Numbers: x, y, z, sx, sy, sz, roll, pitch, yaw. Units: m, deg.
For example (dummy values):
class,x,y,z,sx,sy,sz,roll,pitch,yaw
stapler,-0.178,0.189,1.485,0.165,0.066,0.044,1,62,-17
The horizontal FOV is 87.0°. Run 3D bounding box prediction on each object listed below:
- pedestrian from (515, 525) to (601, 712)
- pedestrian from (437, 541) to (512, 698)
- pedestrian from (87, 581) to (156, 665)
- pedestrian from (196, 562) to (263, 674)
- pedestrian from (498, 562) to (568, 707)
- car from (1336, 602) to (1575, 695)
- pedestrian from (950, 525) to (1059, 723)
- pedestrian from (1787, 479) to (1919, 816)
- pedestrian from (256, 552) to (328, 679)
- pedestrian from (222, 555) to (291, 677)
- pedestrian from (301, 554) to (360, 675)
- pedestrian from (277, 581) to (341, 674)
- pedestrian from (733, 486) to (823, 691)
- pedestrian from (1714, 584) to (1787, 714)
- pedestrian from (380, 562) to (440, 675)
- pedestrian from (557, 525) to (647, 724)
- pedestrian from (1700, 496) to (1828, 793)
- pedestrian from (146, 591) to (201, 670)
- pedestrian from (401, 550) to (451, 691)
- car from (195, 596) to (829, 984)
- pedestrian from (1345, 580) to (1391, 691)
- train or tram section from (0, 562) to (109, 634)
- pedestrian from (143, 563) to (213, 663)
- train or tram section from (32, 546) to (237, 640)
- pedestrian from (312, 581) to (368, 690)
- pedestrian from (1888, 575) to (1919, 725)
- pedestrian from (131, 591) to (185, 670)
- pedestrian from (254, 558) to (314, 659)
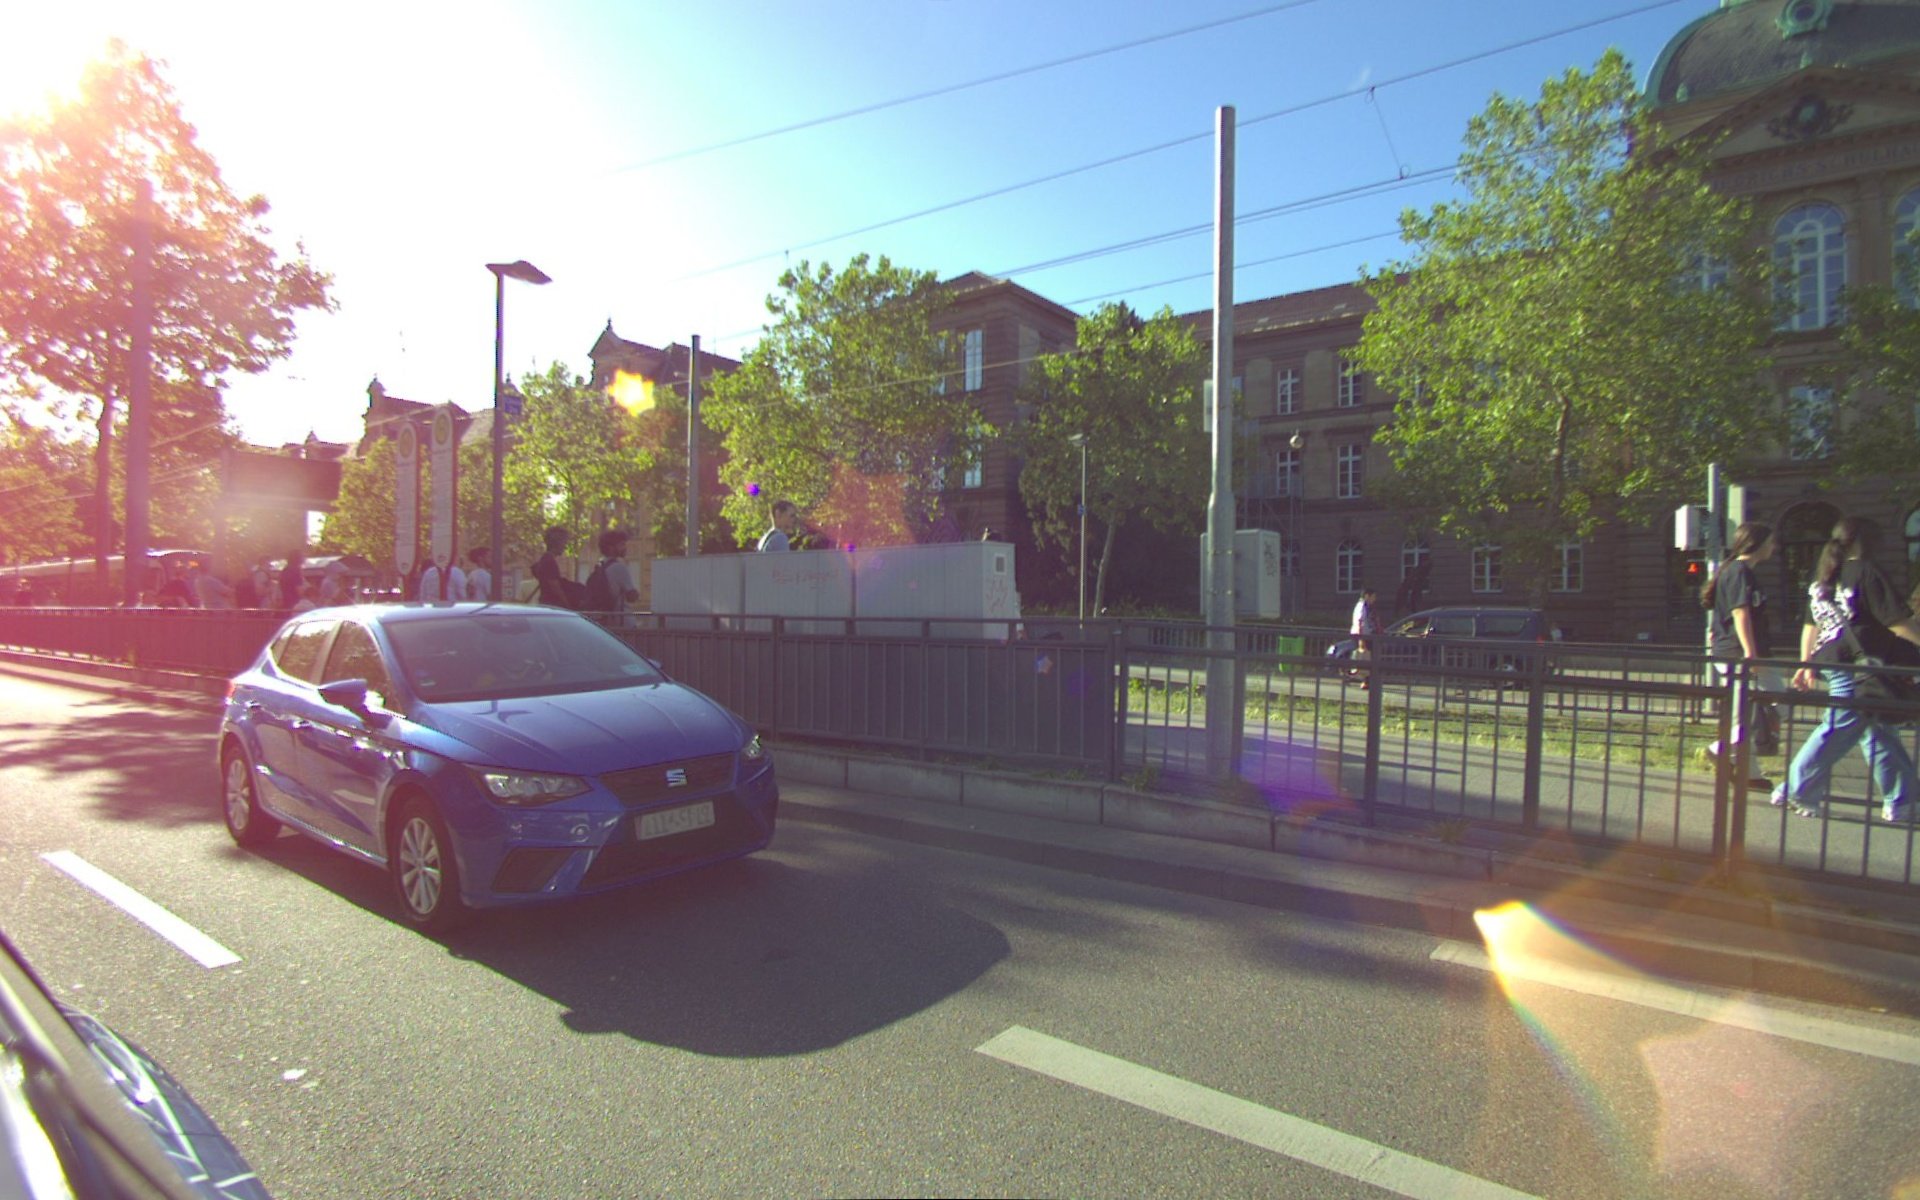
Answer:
class,x,y,z,sx,sy,sz,roll,pitch,yaw
pedestrian,-3.911,0.177,9.859,0.538,1.747,0.543,0,-2,33
pedestrian,-5.499,0.221,11.473,0.610,1.715,0.501,0,-2,33
pedestrian,-15.604,0.437,18.845,0.750,1.521,0.769,0,-2,33
pedestrian,-11.001,0.271,15.244,0.570,1.646,0.654,-1,-2,38
pedestrian,-5.435,0.432,12.881,0.610,1.783,0.548,0,-2,33
car,10.324,0.921,21.201,4.222,1.674,1.975,1,1,37
pedestrian,0.388,0.190,8.735,0.639,1.631,0.634,3,0,33
pedestrian,4.995,0.248,5.457,0.745,1.715,0.627,0,-2,33
pedestrian,-9.269,0.221,14.045,0.570,1.709,0.654,-1,-2,38
pedestrian,-10.189,0.236,14.669,0.570,1.709,0.654,-1,-2,38
pedestrian,-9.214,0.209,14.818,0.620,1.721,0.510,-1,-2,37
pedestrian,-8.650,0.366,13.444,0.530,1.201,0.540,-1,-2,37
pedestrian,-1.614,-0.094,8.997,0.538,1.747,0.543,0,-2,33
pedestrian,10.574,0.641,13.540,0.710,1.677,0.624,-1,-2,42
pedestrian,-7.649,0.257,14.085,0.530,1.530,0.540,-1,-2,37
pedestrian,-3.277,0.221,9.278,0.547,1.747,0.534,0,-2,29
pedestrian,4.946,0.264,6.259,0.544,1.715,0.604,0,-2,33
pedestrian,-12.947,0.499,16.669,0.603,1.256,0.529,0,-2,35
pedestrian,-6.702,0.255,12.725,0.498,1.715,0.613,1,-2,-25
car,-2.680,0.714,5.645,3.871,1.426,1.685,-1,0,39
pedestrian,6.560,0.562,16.273,0.544,1.741,0.519,-1,-2,41
train or tram section,-50.853,-0.046,55.269,18.246,3.460,2.844,-1,0,38
pedestrian,-14.153,0.236,18.319,0.721,1.766,0.769,0,-2,33
train or tram section,-36.455,-0.194,44.133,18.185,3.460,2.822,-1,0,38
pedestrian,-7.710,0.437,12.587,0.506,1.326,0.412,-1,-2,35
pedestrian,11.612,0.589,11.953,0.699,1.756,0.633,0,-1,-2
pedestrian,-13.701,0.515,17.286,0.603,1.309,0.529,0,-2,33
pedestrian,-11.480,0.149,17.187,0.621,1.662,0.613,0,-2,33
